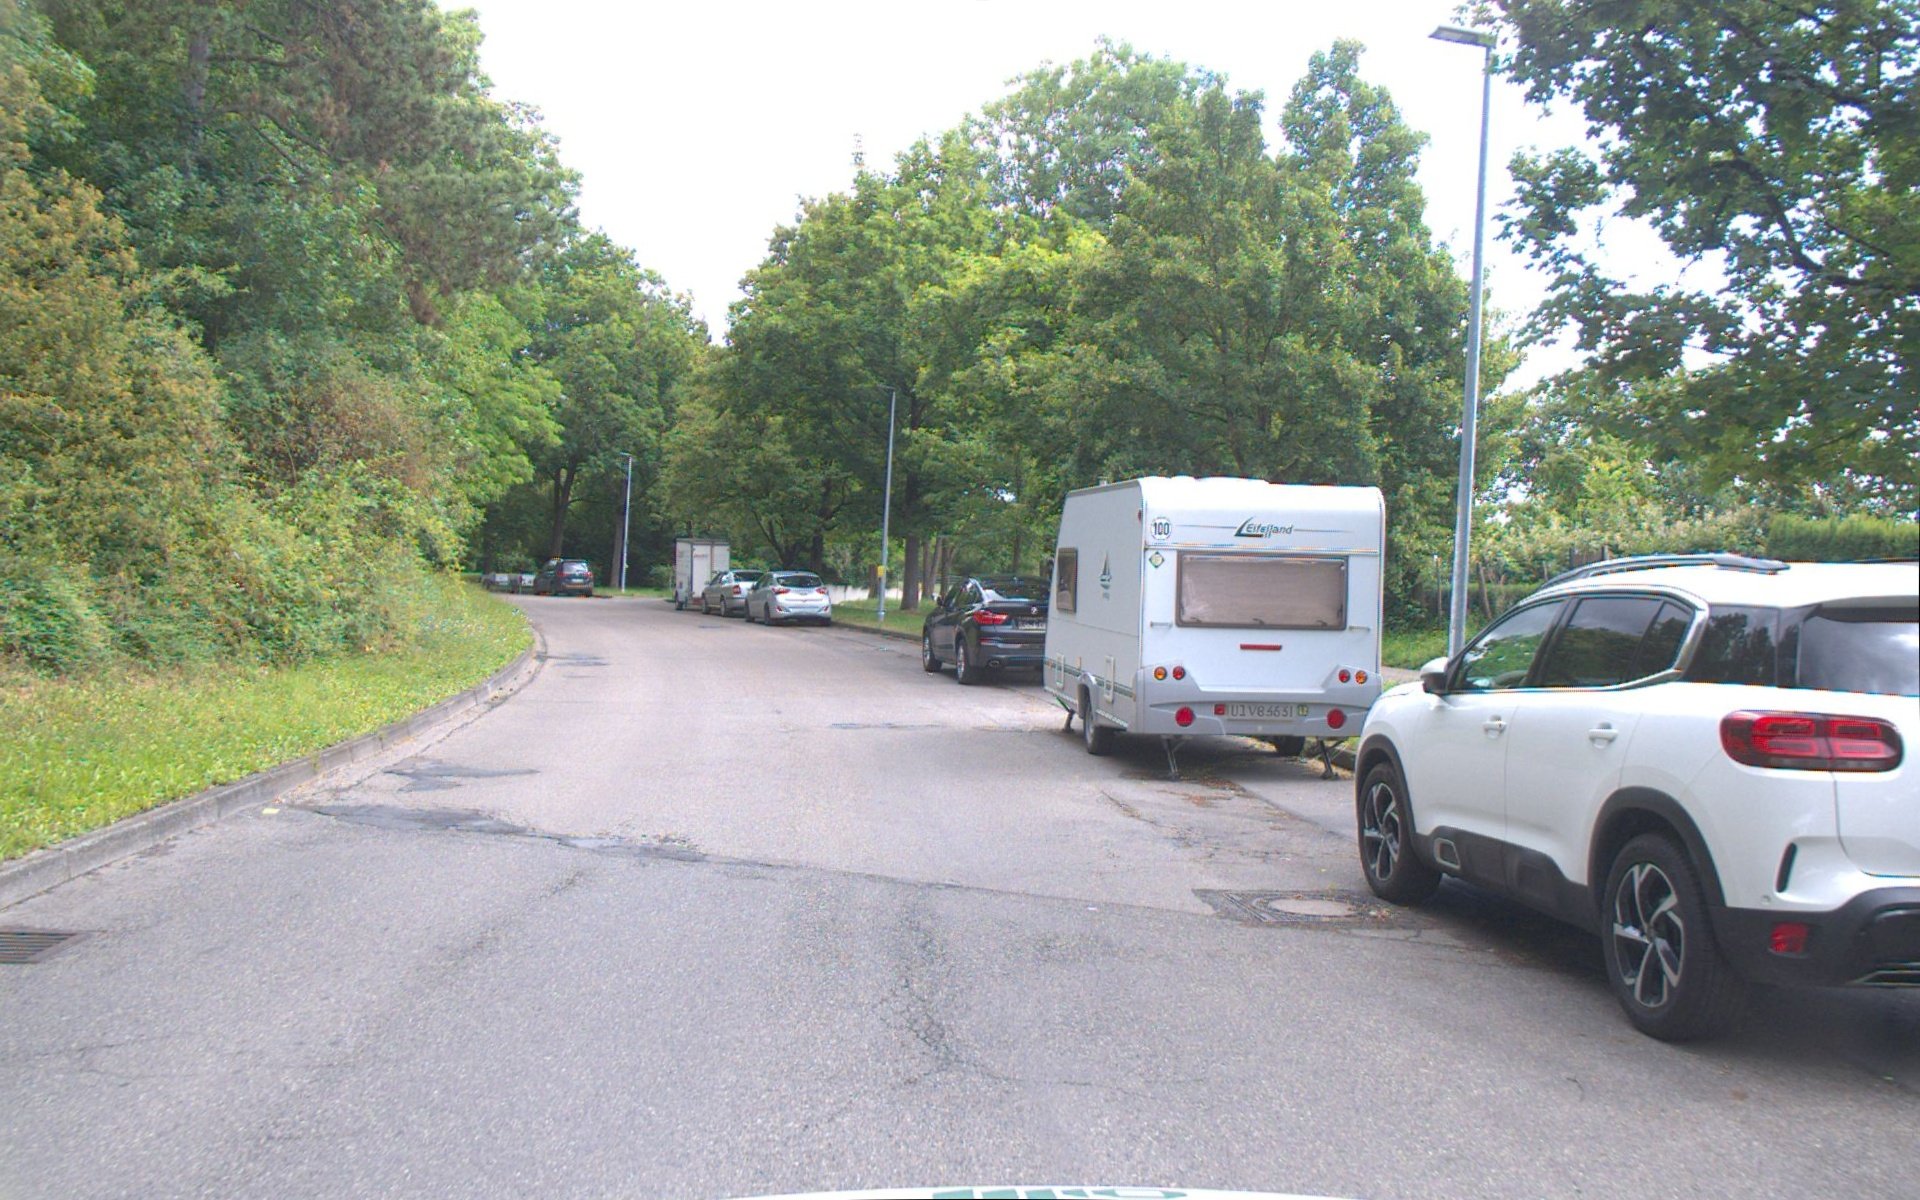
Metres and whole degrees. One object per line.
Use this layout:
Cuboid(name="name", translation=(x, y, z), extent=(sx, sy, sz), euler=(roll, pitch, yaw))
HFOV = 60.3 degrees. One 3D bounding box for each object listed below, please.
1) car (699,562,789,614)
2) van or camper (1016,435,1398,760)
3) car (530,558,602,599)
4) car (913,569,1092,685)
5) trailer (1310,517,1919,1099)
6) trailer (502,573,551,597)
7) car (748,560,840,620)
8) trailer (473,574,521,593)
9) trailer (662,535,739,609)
Cuboid(name="car", translation=(-6.918, -0.395, 52.594), extent=(1.717, 1.551, 4.603), euler=(1, 1, -23))
Cuboid(name="van or camper", translation=(2.142, -0.031, 16.547), extent=(2.120, 2.580, 6.021), euler=(2, 0, -8))
Cuboid(name="car", translation=(-17.776, -0.971, 74.498), extent=(1.757, 1.691, 4.791), euler=(3, -1, -30))
Cuboid(name="car", translation=(0.574, 0.368, 26.582), extent=(1.816, 1.671, 4.517), euler=(1, 1, -12))
Cuboid(name="trailer", translation=(3.124, 0.643, 7.424), extent=(1.738, 1.761, 4.645), euler=(0, 0, -6))
Cuboid(name="trailer", translation=(-20.894, -0.716, 79.676), extent=(1.342, 0.986, 3.856), euler=(3, 0, -29))
Cuboid(name="car", translation=(-4.693, -0.233, 46.369), extent=(1.871, 1.502, 4.042), euler=(3, -2, -15))
Cuboid(name="trailer", translation=(-23.441, -0.824, 83.680), extent=(1.352, 0.862, 3.239), euler=(3, -2, -34))
Cuboid(name="trailer", translation=(-9.066, -0.969, 57.518), extent=(1.737, 2.469, 3.859), euler=(1, 1, -23))
